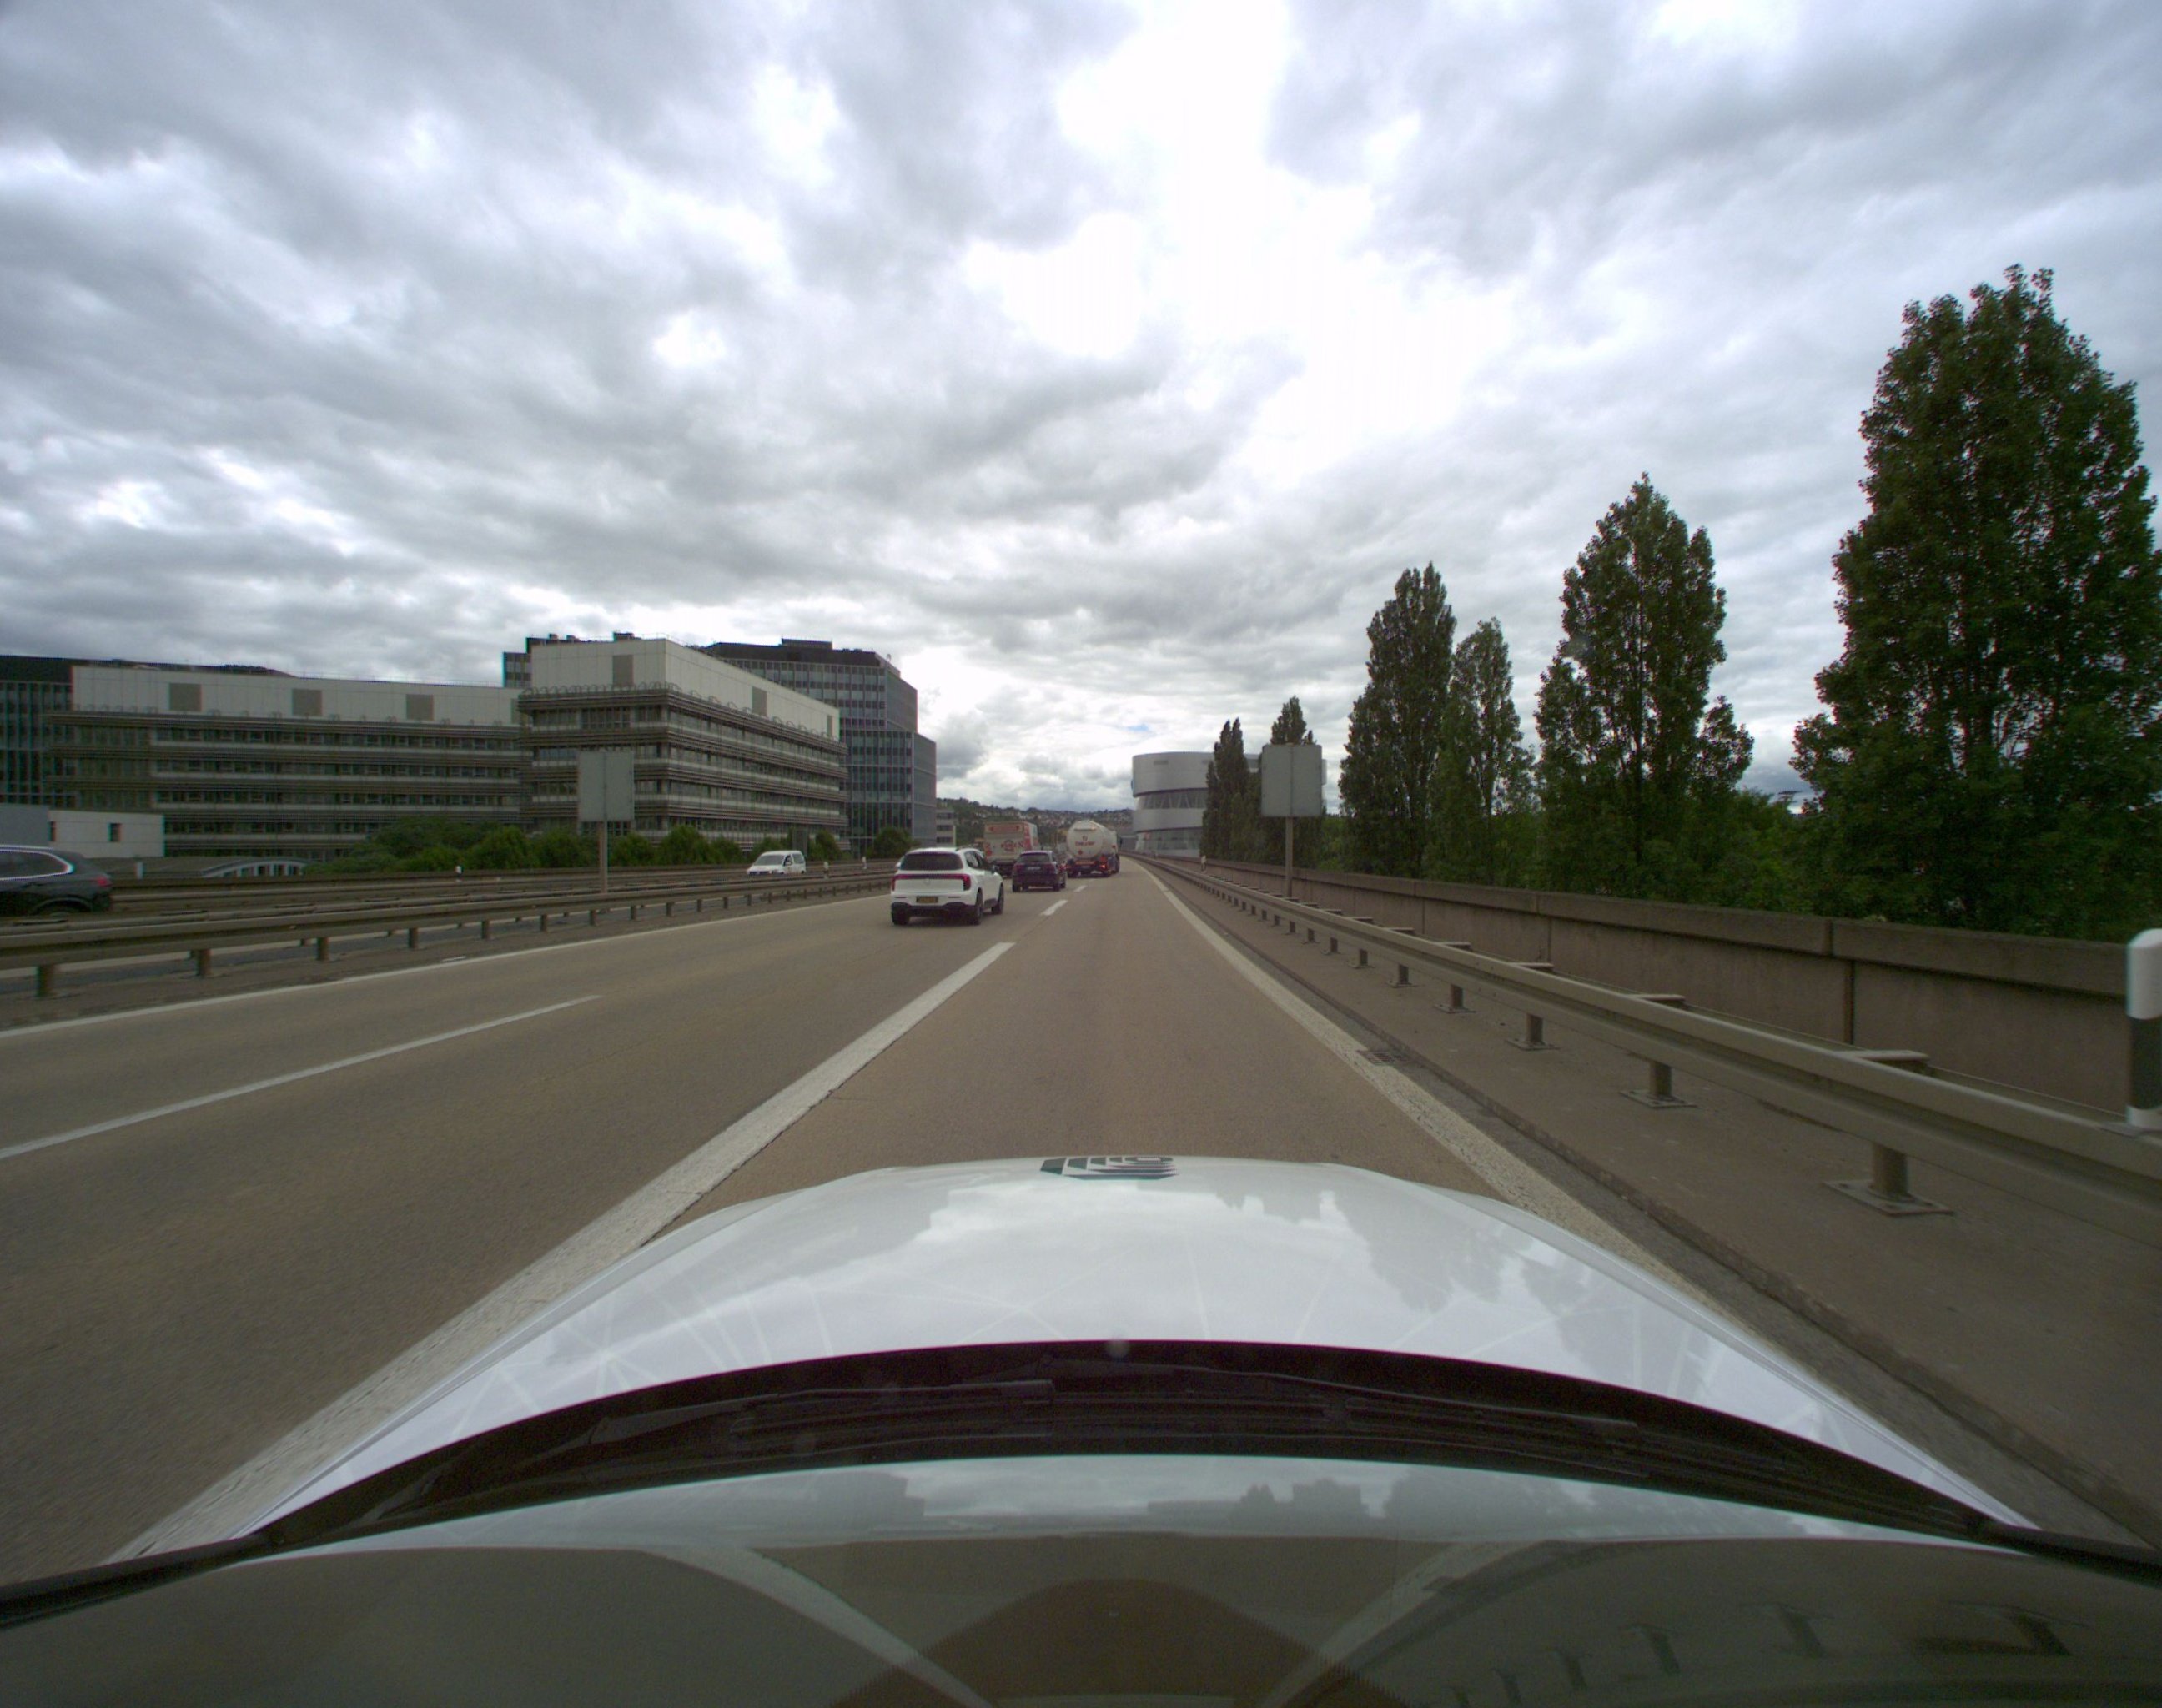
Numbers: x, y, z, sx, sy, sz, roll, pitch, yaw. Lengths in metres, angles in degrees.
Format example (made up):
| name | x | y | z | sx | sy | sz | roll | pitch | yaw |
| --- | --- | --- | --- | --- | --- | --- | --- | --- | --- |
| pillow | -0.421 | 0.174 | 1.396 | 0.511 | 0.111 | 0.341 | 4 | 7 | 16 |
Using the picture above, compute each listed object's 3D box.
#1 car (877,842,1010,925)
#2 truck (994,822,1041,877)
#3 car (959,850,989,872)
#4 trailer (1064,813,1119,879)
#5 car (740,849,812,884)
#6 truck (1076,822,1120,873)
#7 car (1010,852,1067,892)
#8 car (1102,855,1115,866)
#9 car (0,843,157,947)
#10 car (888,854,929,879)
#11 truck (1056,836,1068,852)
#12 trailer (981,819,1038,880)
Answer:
| name | x | y | z | sx | sy | sz | roll | pitch | yaw |
| --- | --- | --- | --- | --- | --- | --- | --- | --- | --- |
| car | -2.989 | 0.600 | 18.873 | 1.985 | 1.668 | 4.896 | 0 | 0 | 3 |
| truck | -4.435 | -0.332 | 57.672 | 2.680 | 3.690 | 4.442 | -2 | 0 | 2 |
| car | -10.205 | 0.647 | 78.121 | 1.985 | 2.013 | 4.555 | -2 | 0 | 3 |
| trailer | 0.854 | -0.524 | 52.919 | 2.779 | 3.737 | 11.167 | -2 | 0 | 4 |
| car | -15.964 | 0.607 | 42.866 | 1.860 | 1.711 | 4.603 | -2 | 0 | 2 |
| truck | 1.318 | -0.465 | 59.221 | 2.757 | 3.430 | 5.972 | -2 | 0 | 4 |
| car | -1.668 | 0.685 | 33.283 | 1.838 | 1.505 | 4.269 | 1 | 0 | 4 |
| car | 4.513 | 1.063 | 134.479 | 1.987 | 1.538 | 4.000 | 5 | 0 | 1 |
| car | -17.963 | 0.674 | 12.536 | 1.985 | 1.636 | 4.636 | -2 | 0 | 3 |
| car | -11.618 | 0.796 | 55.039 | 1.743 | 1.560 | 4.001 | -2 | 0 | 1 |
| truck | -4.501 | -2.434 | 197.222 | 2.385 | 3.893 | 5.947 | -2 | 0 | 3 |
| trailer | -4.592 | -0.293 | 53.617 | 2.680 | 3.690 | 7.317 | -2 | 0 | 2 |
